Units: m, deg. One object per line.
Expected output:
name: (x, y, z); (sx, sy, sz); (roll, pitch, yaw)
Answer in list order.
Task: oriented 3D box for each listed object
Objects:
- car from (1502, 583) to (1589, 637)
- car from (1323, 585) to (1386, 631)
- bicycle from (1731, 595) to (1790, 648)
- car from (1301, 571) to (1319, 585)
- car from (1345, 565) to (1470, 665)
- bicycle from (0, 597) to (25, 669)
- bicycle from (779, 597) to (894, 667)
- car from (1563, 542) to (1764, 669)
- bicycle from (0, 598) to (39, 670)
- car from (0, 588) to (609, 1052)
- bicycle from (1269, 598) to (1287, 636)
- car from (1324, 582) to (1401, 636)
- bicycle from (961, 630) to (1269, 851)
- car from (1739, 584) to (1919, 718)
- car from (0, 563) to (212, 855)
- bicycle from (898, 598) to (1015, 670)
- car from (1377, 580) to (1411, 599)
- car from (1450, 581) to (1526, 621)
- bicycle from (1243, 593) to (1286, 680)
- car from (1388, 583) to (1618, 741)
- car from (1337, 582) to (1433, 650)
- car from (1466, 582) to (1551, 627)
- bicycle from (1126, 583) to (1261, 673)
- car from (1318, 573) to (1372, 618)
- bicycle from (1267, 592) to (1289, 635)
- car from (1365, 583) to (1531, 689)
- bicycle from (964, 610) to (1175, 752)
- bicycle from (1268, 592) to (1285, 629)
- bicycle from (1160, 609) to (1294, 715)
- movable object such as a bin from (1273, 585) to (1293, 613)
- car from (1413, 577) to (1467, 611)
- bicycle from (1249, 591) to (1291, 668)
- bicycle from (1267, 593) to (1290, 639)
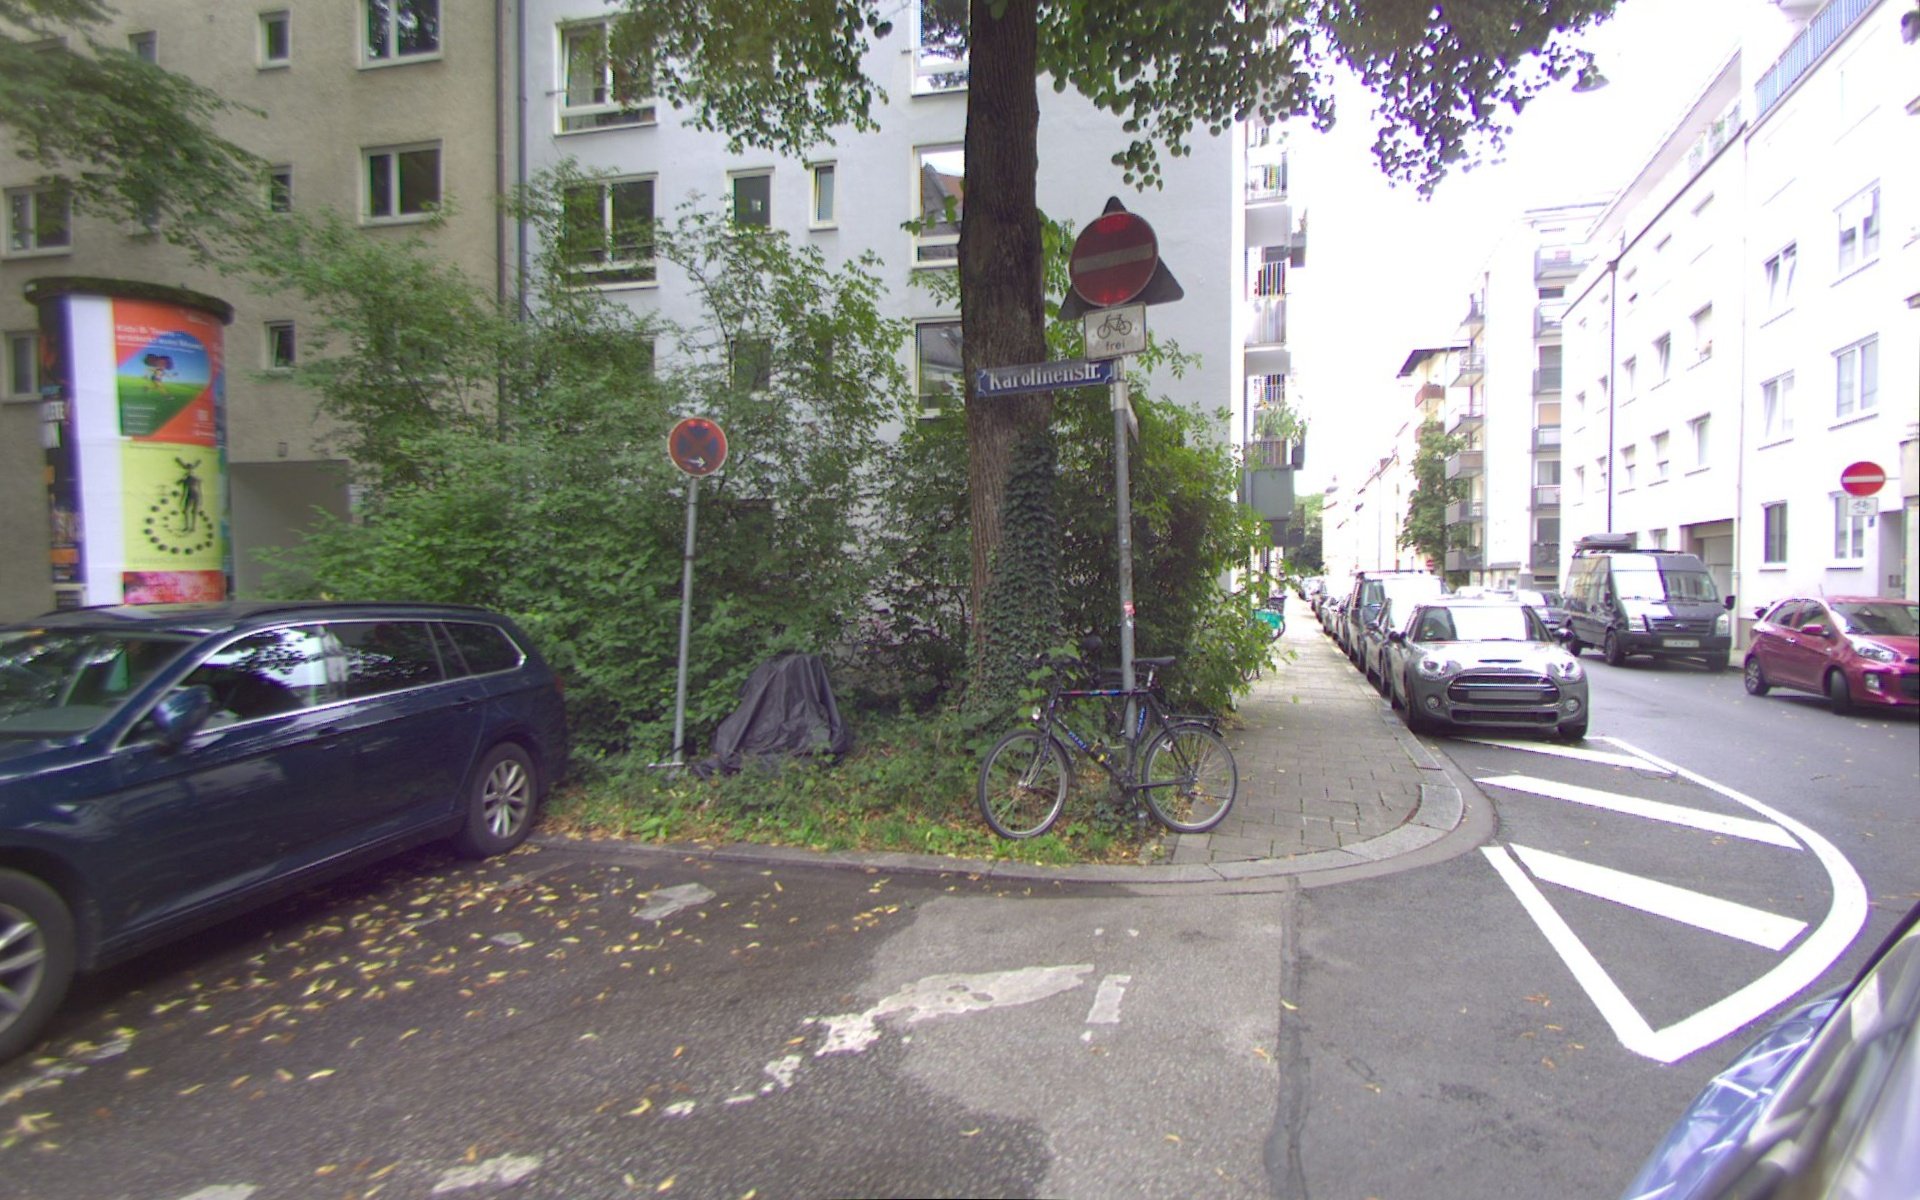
car: (18.001, 0.252, 31.263); (1.597, 1.464, 3.719); (3, 2, 20)
car: (13.887, 0.234, 35.820); (1.716, 1.447, 4.181); (0, 2, 17)
bicycle: (17.920, 0.452, 22.695); (0.459, 1.111, 1.858); (0, 1, 20)
car: (40.504, -2.552, 117.272); (1.872, 1.650, 4.272); (0, 2, 18)
car: (9.124, 0.202, 20.981); (1.856, 1.813, 4.755); (0, 2, 18)
bicycle: (-15.038, 0.521, 14.954); (0.539, 1.096, 1.870); (-1, 0, 9)
bicycle: (-1.900, 0.480, 15.560); (1.676, 1.036, 0.537); (-1, 0, 13)
car: (14.642, 0.011, 21.474); (1.999, 2.307, 5.358); (2, 2, 19)
bicycle: (-15.938, 0.549, 16.364); (1.739, 1.138, 0.445); (0, 0, 3)
car: (-3.705, 0.673, 4.695); (1.928, 1.394, 4.722); (0, 1, 9)
bicycle: (9.055, 0.466, 28.832); (0.472, 1.015, 1.543); (0, 1, 18)
car: (12.353, 0.219, 31.255); (1.741, 1.449, 4.240); (-3, 1, 17)
bicycle: (0.921, 0.784, 6.028); (1.736, 1.152, 0.556); (-1, 1, -16)
car: (12.016, 0.565, 13.299); (1.603, 1.515, 3.688); (1, 1, 17)
car: (-6.197, 0.606, 4.905); (1.730, 1.575, 3.969); (0, 1, 13)
bicycle: (-0.054, 0.503, 15.163); (1.676, 1.036, 0.537); (-1, 0, 13)
car: (32.826, -0.818, 76.632); (1.947, 1.394, 4.272); (0, 2, 18)
car: (20.994, -0.012, 40.401); (1.893, 1.455, 4.782); (0, 2, 18)
bicycle: (4.668, 0.516, 15.464); (0.554, 1.235, 1.906); (-1, 0, 19)
car: (6.052, 0.551, 11.738); (1.727, 1.459, 3.975); (1, 1, 19)
car: (10.986, 0.332, 26.441); (1.886, 1.573, 4.599); (0, 2, 18)
car: (19.227, 0.109, 35.655); (1.782, 1.434, 4.206); (0, 2, 16)
bicycle: (3.294, 0.389, 14.378); (1.825, 1.245, 0.576); (-1, 0, 12)
car: (17.410, -0.265, 45.998); (1.962, 1.862, 5.155); (-2, 1, 18)
bicycle: (8.815, 0.357, 28.045); (0.565, 1.165, 1.554); (0, 1, 18)
car: (7.671, 0.467, 16.288); (1.814, 1.437, 4.036); (1, 1, 17)
bicycle: (0.856, 0.626, 8.086); (1.606, 1.069, 0.605); (0, 0, 5)
bicycle: (9.496, 0.293, 30.341); (0.472, 1.061, 1.513); (0, 1, 18)
bicycle: (2.955, 0.652, 11.347); (0.442, 1.069, 1.637); (-1, 1, -28)
movable object such as a bin: (13.607, -0.041, 42.627); (0.787, 1.153, 0.571); (0, 1, 18)
car: (24.914, -0.357, 52.679); (1.947, 1.627, 4.515); (0, 2, 18)
bicycle: (5.373, 0.474, 17.625); (0.616, 1.235, 2.237); (-1, 0, 15)
bicycle: (8.336, 0.399, 26.497); (0.565, 1.165, 1.422); (0, 1, 18)
